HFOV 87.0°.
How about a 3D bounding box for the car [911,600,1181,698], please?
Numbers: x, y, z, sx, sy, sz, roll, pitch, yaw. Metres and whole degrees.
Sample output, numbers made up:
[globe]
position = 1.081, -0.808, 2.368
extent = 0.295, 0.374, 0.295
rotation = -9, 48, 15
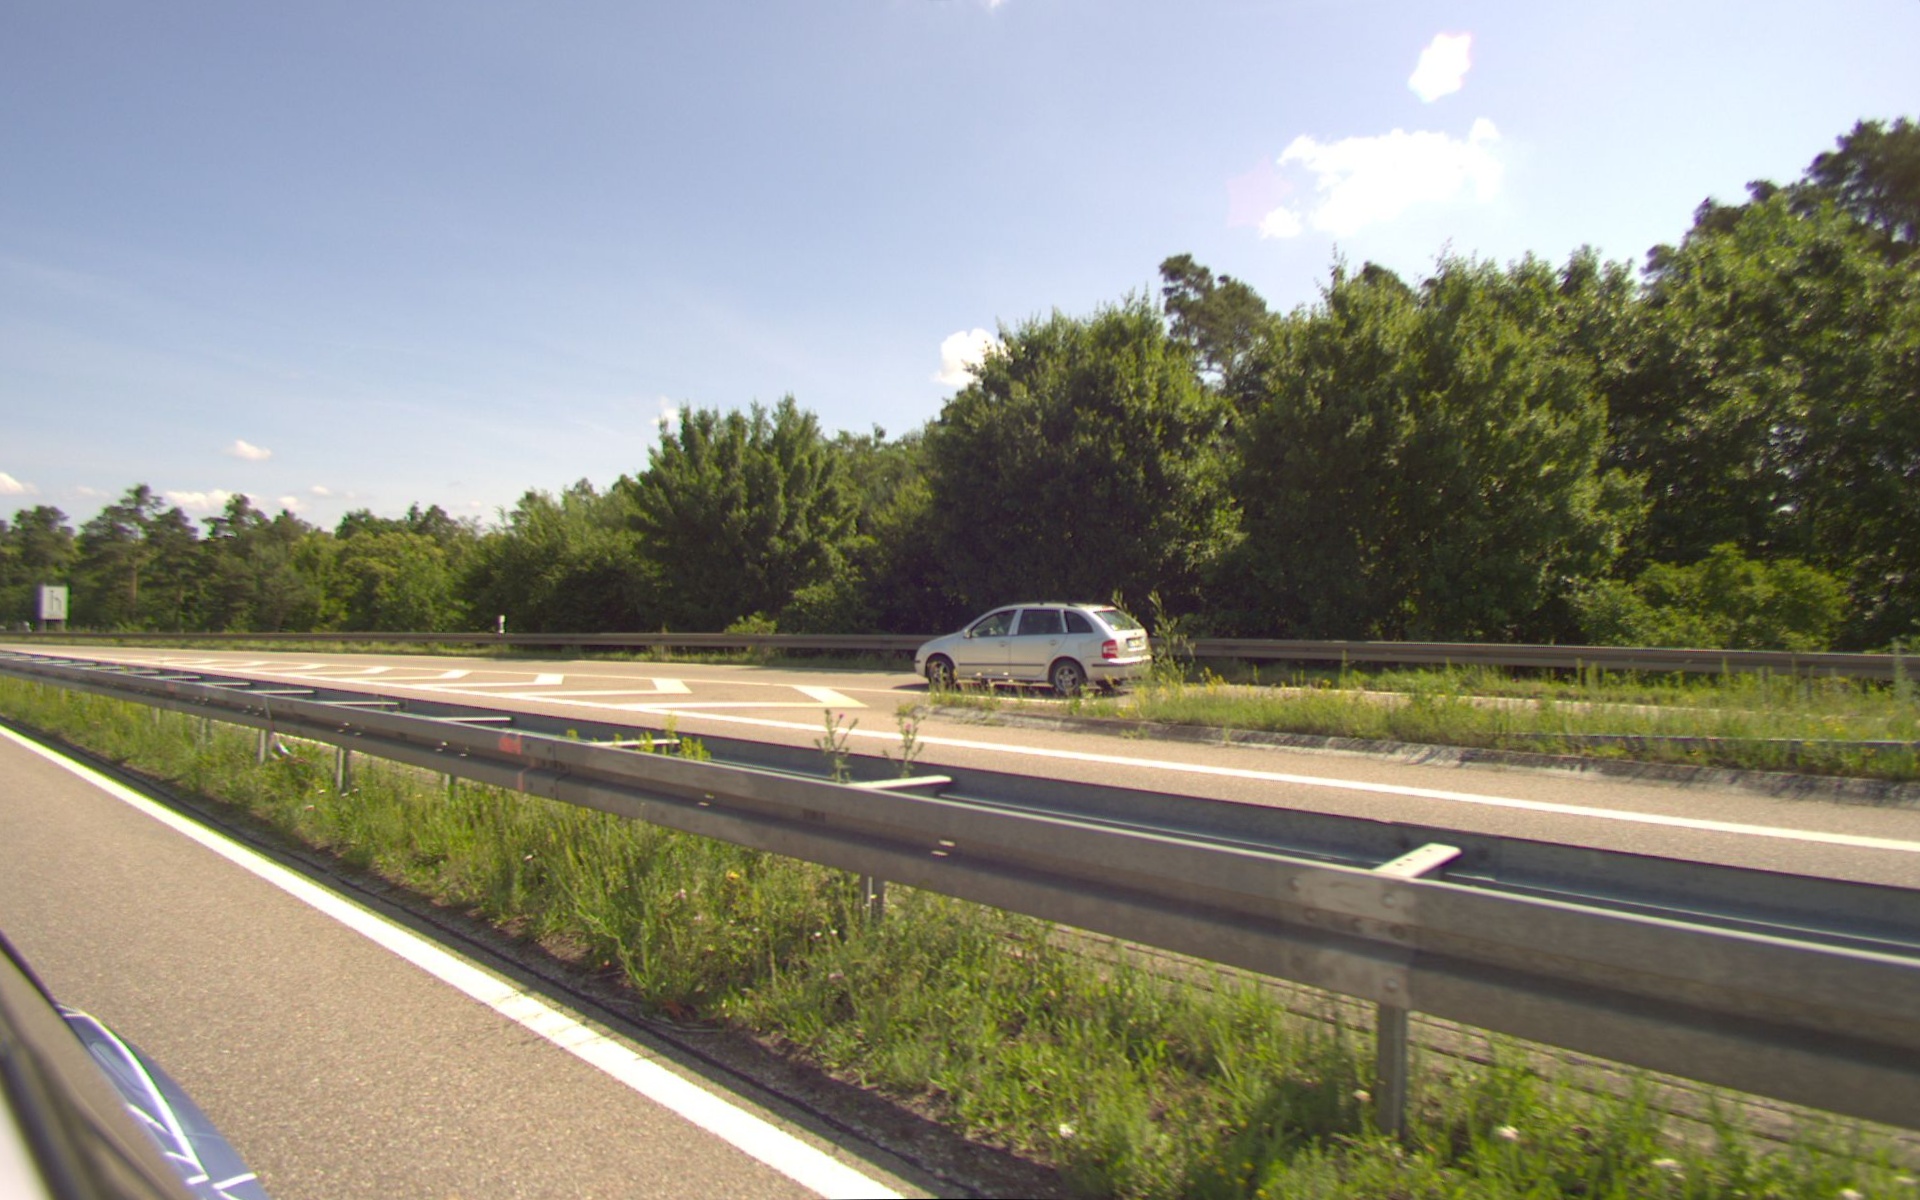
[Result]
[car]
position = 1.350, 0.762, 16.750
extent = 4.202, 1.439, 1.664
rotation = -2, -1, 35
